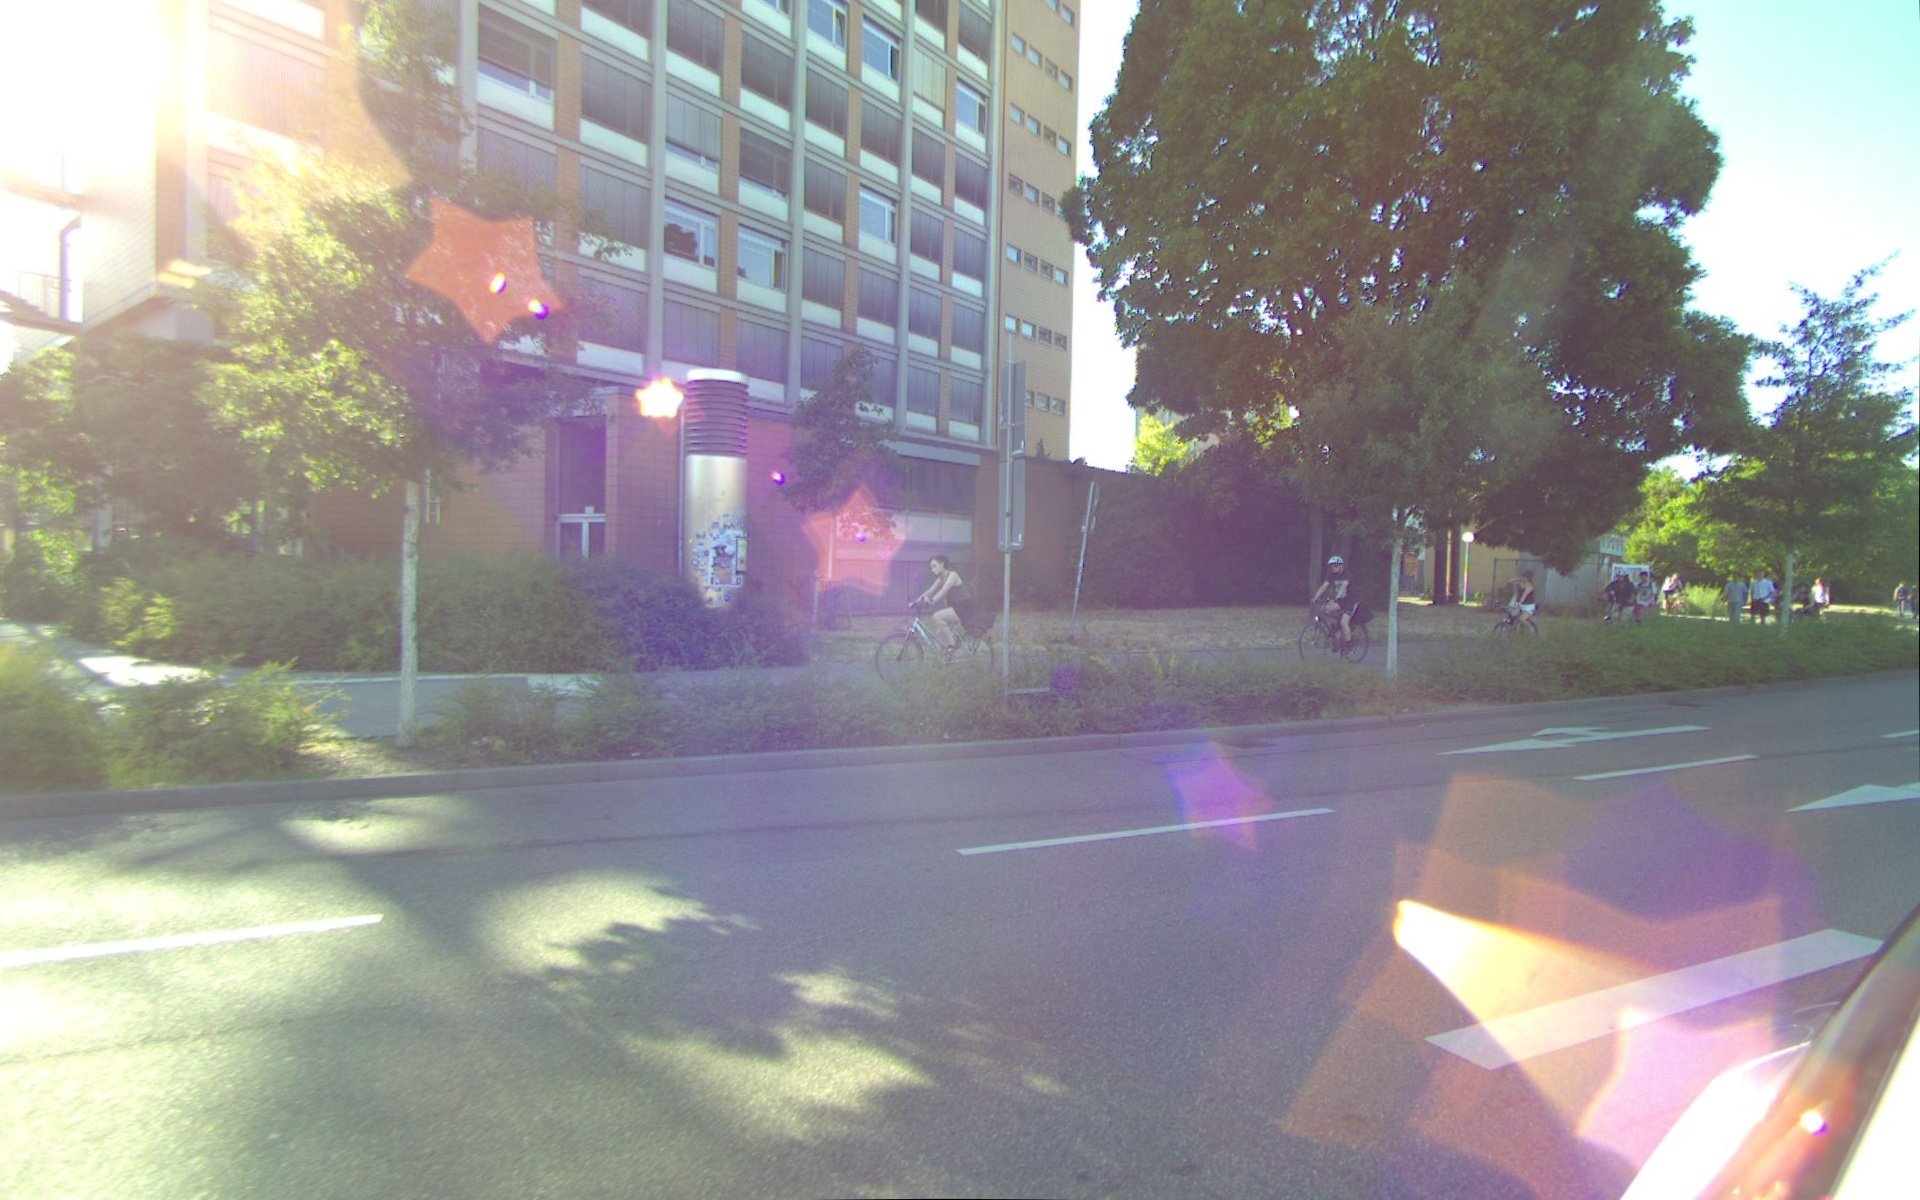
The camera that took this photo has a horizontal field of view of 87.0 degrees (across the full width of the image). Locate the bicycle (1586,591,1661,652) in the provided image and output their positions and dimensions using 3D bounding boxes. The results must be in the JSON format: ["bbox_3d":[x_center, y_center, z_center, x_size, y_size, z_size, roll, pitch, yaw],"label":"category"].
[{"bbox_3d":[14.046,0.417,21.386,2.538,1.170,0.779,-1,3,-45],"label":"bicycle"}]

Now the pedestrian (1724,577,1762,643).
[{"bbox_3d":[22.742,0.280,29.401,0.611,1.892,0.576,1,2,4],"label":"pedestrian"}]

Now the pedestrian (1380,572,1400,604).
[{"bbox_3d":[28.655,-0.808,67.411,0.853,2.038,0.899,0,2,-41],"label":"pedestrian"}]

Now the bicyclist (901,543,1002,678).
[{"bbox_3d":[-0.125,0.115,13.409,1.070,1.697,0.783,0,4,-23],"label":"bicyclist"}]

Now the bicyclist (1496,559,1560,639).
[{"bbox_3d":[11.601,-0.019,20.676,0.832,1.568,0.719,2,0,-22],"label":"bicyclist"}]

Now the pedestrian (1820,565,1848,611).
[{"bbox_3d":[33.175,-0.459,38.422,0.672,1.725,0.865,2,2,37],"label":"pedestrian"}]

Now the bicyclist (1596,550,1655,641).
[{"bbox_3d":[14.035,-0.117,21.334,1.075,1.856,0.779,-1,2,-44],"label":"bicyclist"}]

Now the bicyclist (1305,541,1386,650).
[{"bbox_3d":[6.745,-0.095,17.719,1.071,1.853,0.782,0,2,-28],"label":"bicyclist"}]

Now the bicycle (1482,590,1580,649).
[{"bbox_3d":[11.686,0.403,20.702,1.829,1.135,0.721,2,0,-22],"label":"bicycle"}]

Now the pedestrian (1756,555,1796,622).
[{"bbox_3d":[23.144,-0.335,28.712,0.611,1.892,0.576,1,2,4],"label":"pedestrian"}]

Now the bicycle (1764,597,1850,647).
[{"bbox_3d":[20.001,0.498,23.887,2.023,1.135,0.721,0,0,-24],"label":"bicycle"}]

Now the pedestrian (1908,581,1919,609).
[{"bbox_3d":[55.193,-0.291,58.253,0.759,1.562,0.836,3,2,37],"label":"pedestrian"}]

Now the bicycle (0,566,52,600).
[{"bbox_3d":[-24.584,-0.452,26.145,0.526,0.868,1.632,2,2,38],"label":"bicycle"}]

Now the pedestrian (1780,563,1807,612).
[{"bbox_3d":[27.717,-0.435,33.666,0.620,1.594,0.629,2,2,43],"label":"pedestrian"}]

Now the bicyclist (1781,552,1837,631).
[{"bbox_3d":[20.038,-0.203,23.897,0.832,1.810,0.719,0,0,-24],"label":"bicyclist"}]

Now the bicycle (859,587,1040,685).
[{"bbox_3d":[-0.139,0.445,13.425,2.243,1.169,0.783,0,4,-23],"label":"bicycle"}]

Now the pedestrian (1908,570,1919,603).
[{"bbox_3d":[50.281,-0.714,53.109,0.710,1.734,0.723,2,2,43],"label":"pedestrian"}]

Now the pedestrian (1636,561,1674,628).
[{"bbox_3d":[18.192,-0.146,26.508,0.619,1.720,0.622,0,2,-39],"label":"pedestrian"}]

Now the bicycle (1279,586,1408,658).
[{"bbox_3d":[6.728,0.362,17.726,2.244,1.170,0.782,0,2,-28],"label":"bicycle"}]
